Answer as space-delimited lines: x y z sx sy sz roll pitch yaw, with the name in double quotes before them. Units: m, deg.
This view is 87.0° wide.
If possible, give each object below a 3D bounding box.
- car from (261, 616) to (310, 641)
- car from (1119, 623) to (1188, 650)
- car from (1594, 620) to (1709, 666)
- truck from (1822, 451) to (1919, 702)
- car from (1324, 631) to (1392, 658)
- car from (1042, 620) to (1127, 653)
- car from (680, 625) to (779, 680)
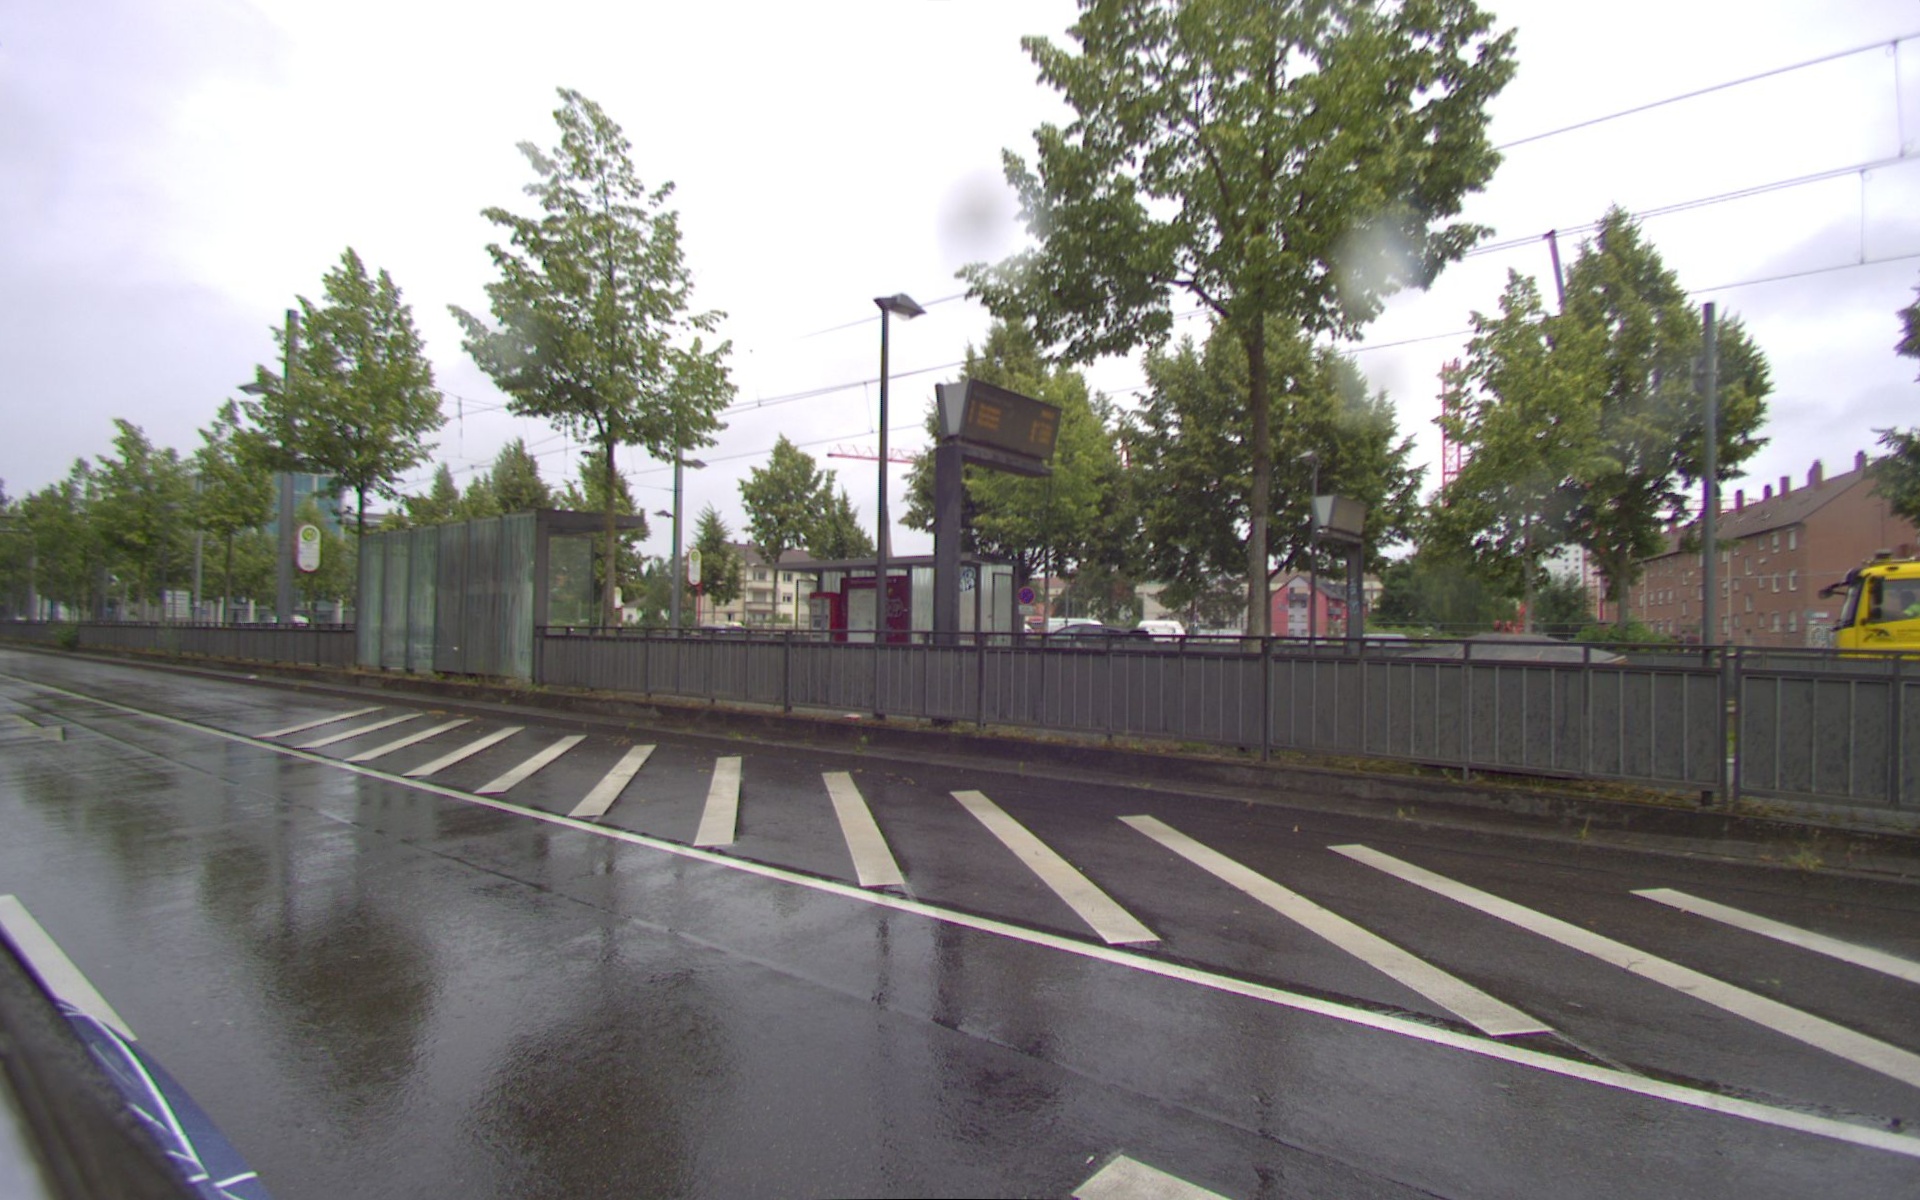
"car" -50.704 2.138 76.068 3.995 1.759 1.974 -1 0 38
"car" 16.240 3.037 85.206 5.412 2.067 1.975 -1 0 37
"car" 40.284 2.456 59.068 5.482 2.471 1.976 -1 0 36
"truck" 18.111 -0.396 14.134 9.176 3.806 2.660 -1 0 40
"car" 29.503 3.273 75.029 4.415 1.891 1.855 -1 0 34
"car" 10.057 2.908 81.894 6.736 2.480 1.975 -1 0 37
"car" -8.927 1.992 39.037 3.999 2.029 1.738 -2 -3 42
